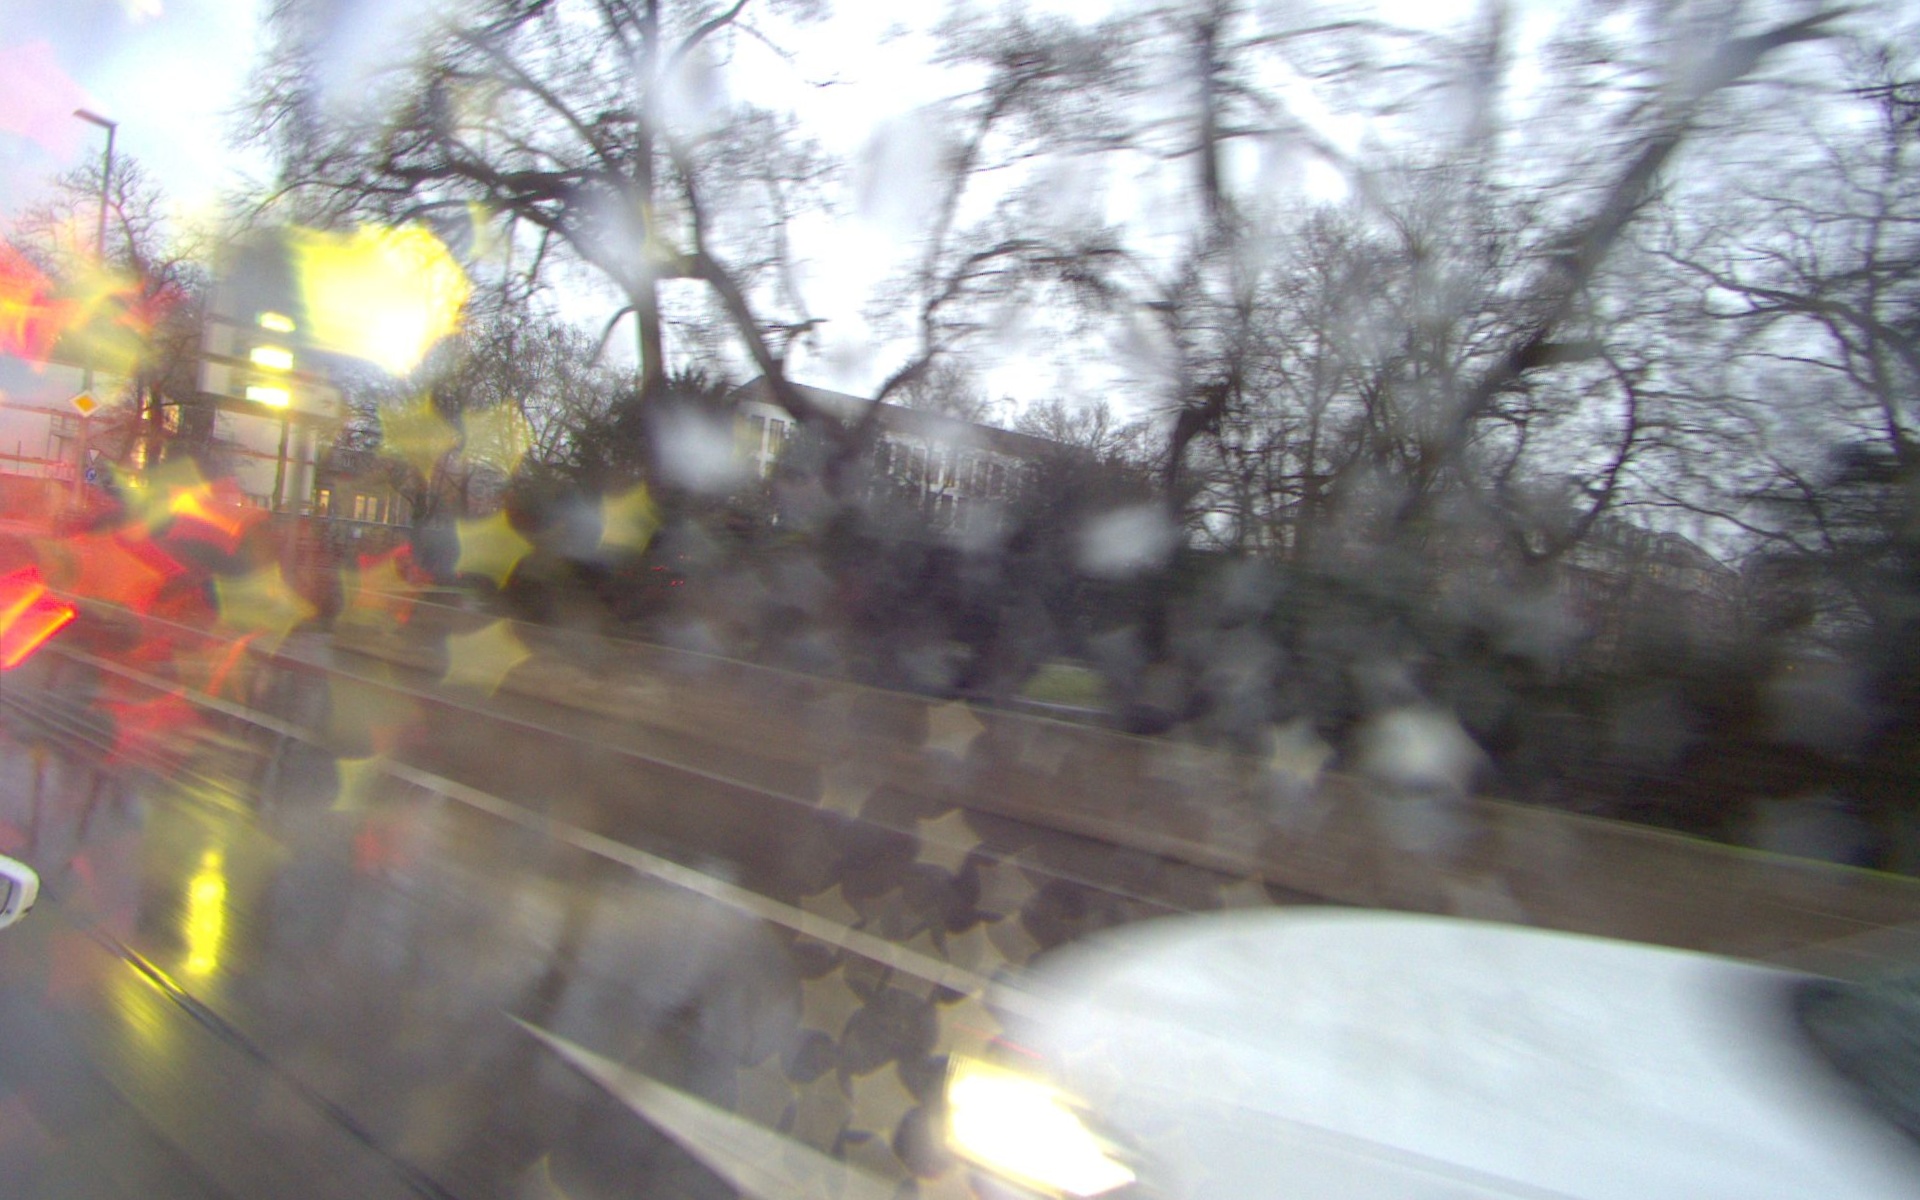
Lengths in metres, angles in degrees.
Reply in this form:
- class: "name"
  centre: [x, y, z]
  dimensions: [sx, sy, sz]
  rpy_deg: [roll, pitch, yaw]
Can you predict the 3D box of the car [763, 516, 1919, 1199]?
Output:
- class: "car"
  centre: [2.224, 0.945, 1.265]
  dimensions: [4.856, 1.575, 1.864]
  rpy_deg: [7, 0, 32]
